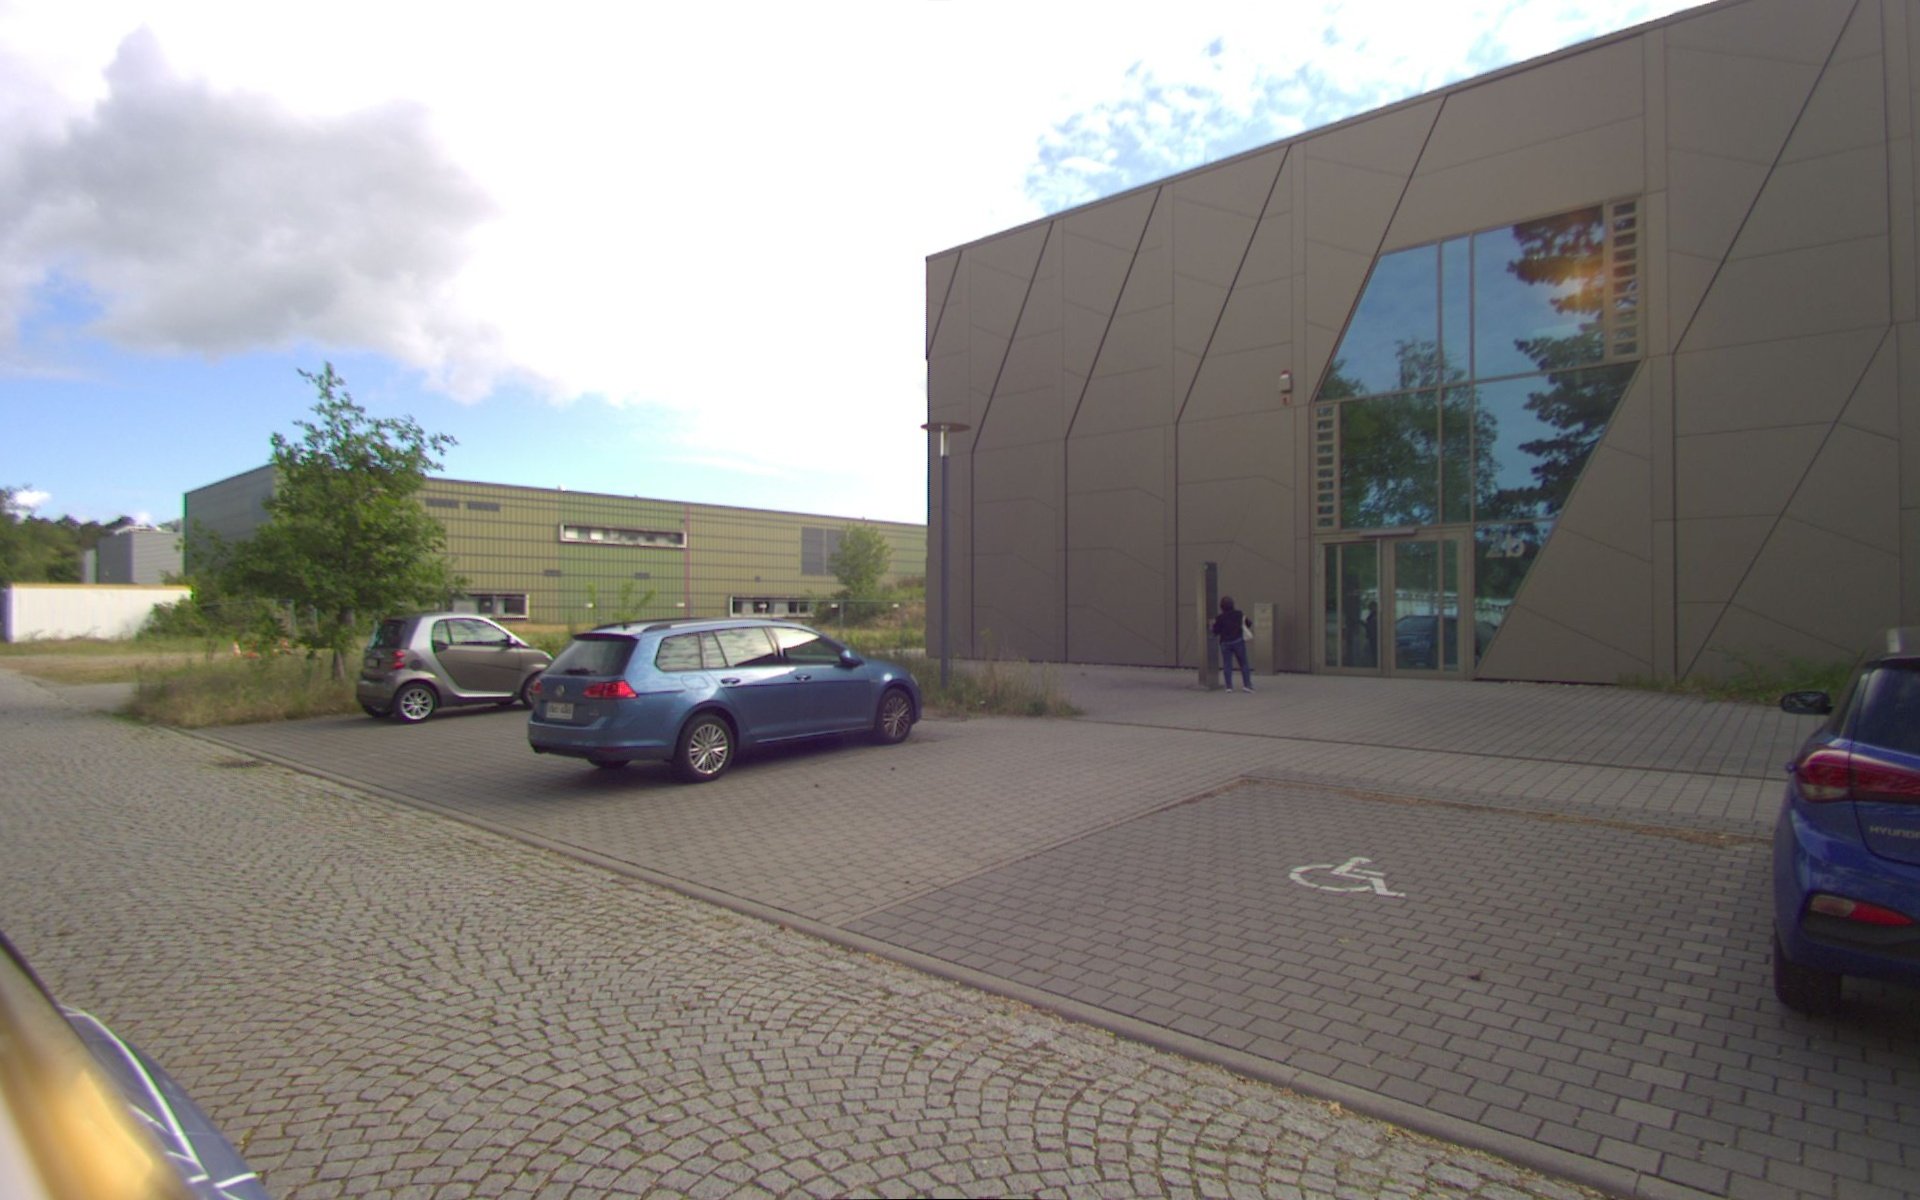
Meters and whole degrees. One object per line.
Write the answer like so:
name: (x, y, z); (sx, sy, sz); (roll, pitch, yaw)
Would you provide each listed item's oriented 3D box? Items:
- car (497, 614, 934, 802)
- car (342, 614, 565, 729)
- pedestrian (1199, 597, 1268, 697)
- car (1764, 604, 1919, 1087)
car: (-2.299, 0.927, 10.553); (1.771, 1.439, 4.265); (-1, 0, 38)
car: (-7.692, 1.011, 15.464); (1.609, 1.522, 2.627); (-1, 0, 40)
pedestrian: (4.315, 0.711, 15.922); (0.815, 1.506, 0.976); (-1, 0, 30)
car: (4.744, 0.783, 4.203); (1.852, 1.489, 3.723); (-1, 0, 44)
